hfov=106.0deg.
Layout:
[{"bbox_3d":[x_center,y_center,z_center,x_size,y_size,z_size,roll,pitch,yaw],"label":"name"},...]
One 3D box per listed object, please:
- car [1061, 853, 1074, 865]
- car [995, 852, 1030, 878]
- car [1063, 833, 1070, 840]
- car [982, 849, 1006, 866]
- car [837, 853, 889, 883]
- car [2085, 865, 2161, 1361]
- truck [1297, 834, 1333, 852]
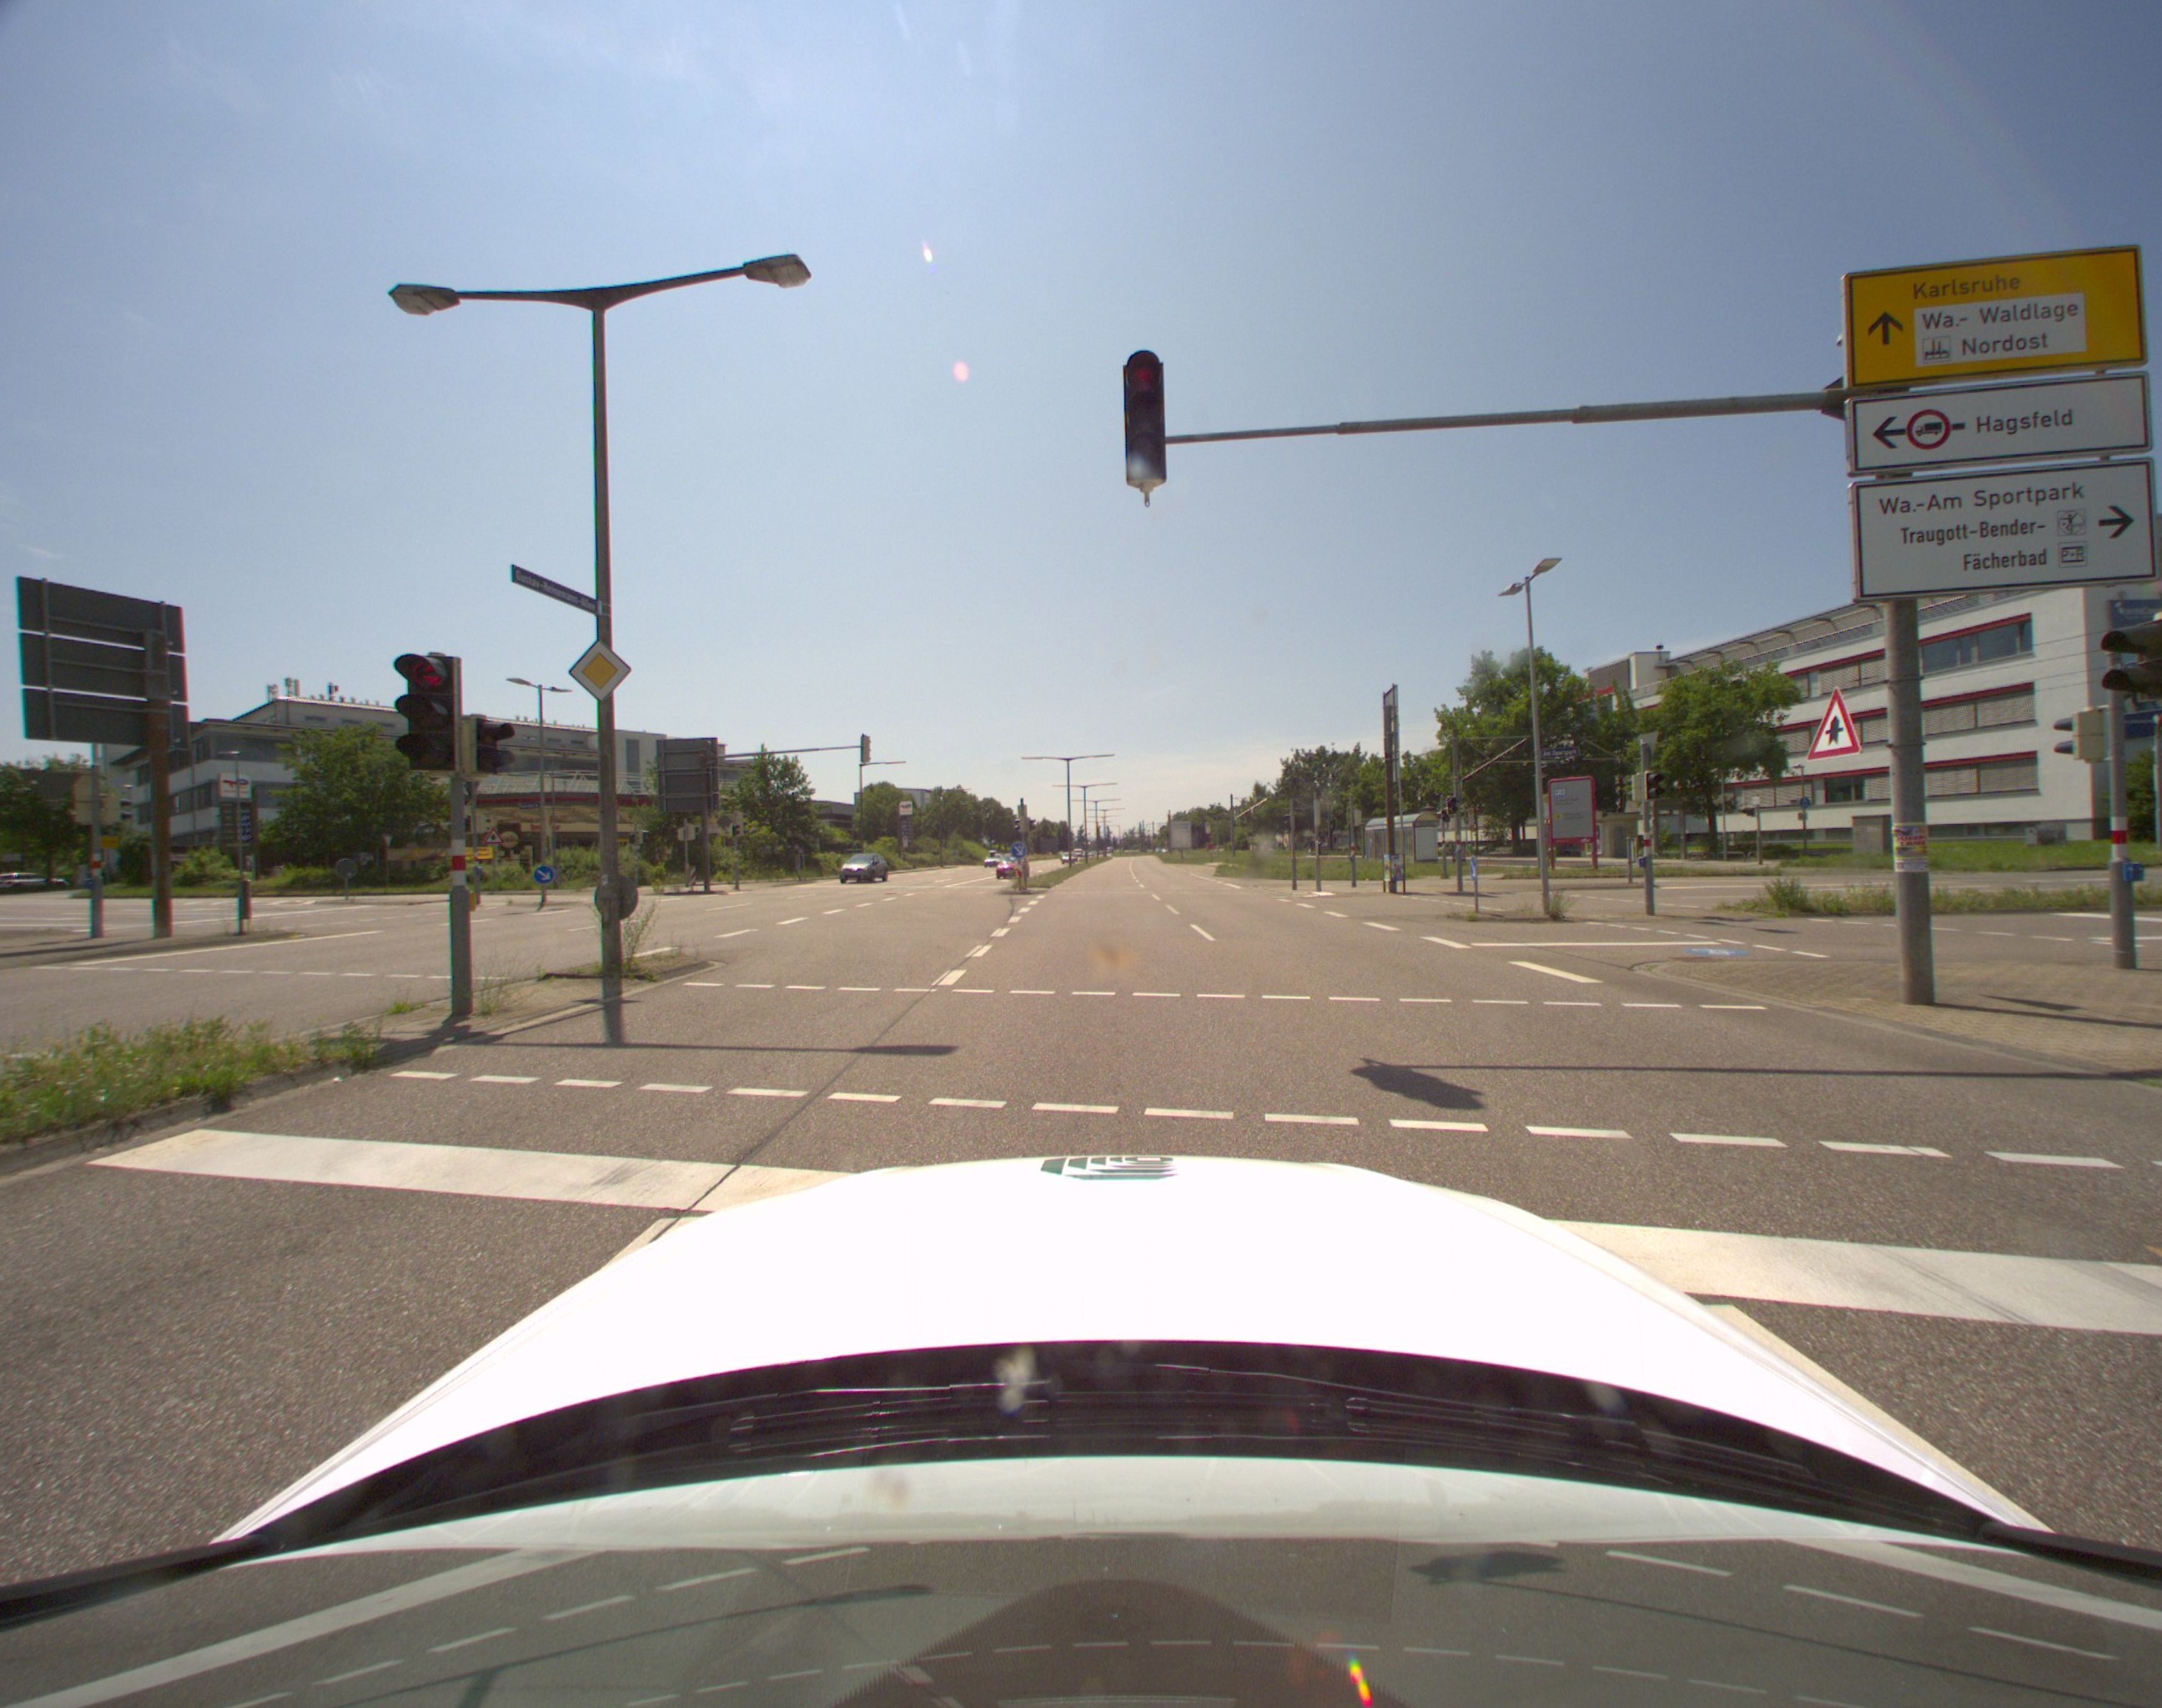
[{"bbox_3d":[-1.673,0.566,103.660,1.555,1.423,3.855,-1,1,1],"label":"car"},{"bbox_3d":[-4.139,0.651,49.545,1.652,1.490,4.001,-2,0,1],"label":"car"},{"bbox_3d":[-4.441,-5.229,250.010,1.988,2.014,3.997,0,-1,-1],"label":"car"},{"bbox_3d":[-9.399,0.369,88.058,1.958,1.750,5.023,-2,0,1],"label":"car"},{"bbox_3d":[-11.857,0.750,44.540,1.652,1.539,4.001,0,0,1],"label":"car"},{"bbox_3d":[3.872,0.721,0.233,1.677,1.389,4.450,-1,0,0],"label":"car"},{"bbox_3d":[42.268,-2.045,147.199,5.831,2.843,2.316,-3,0,-5],"label":"truck"}]
